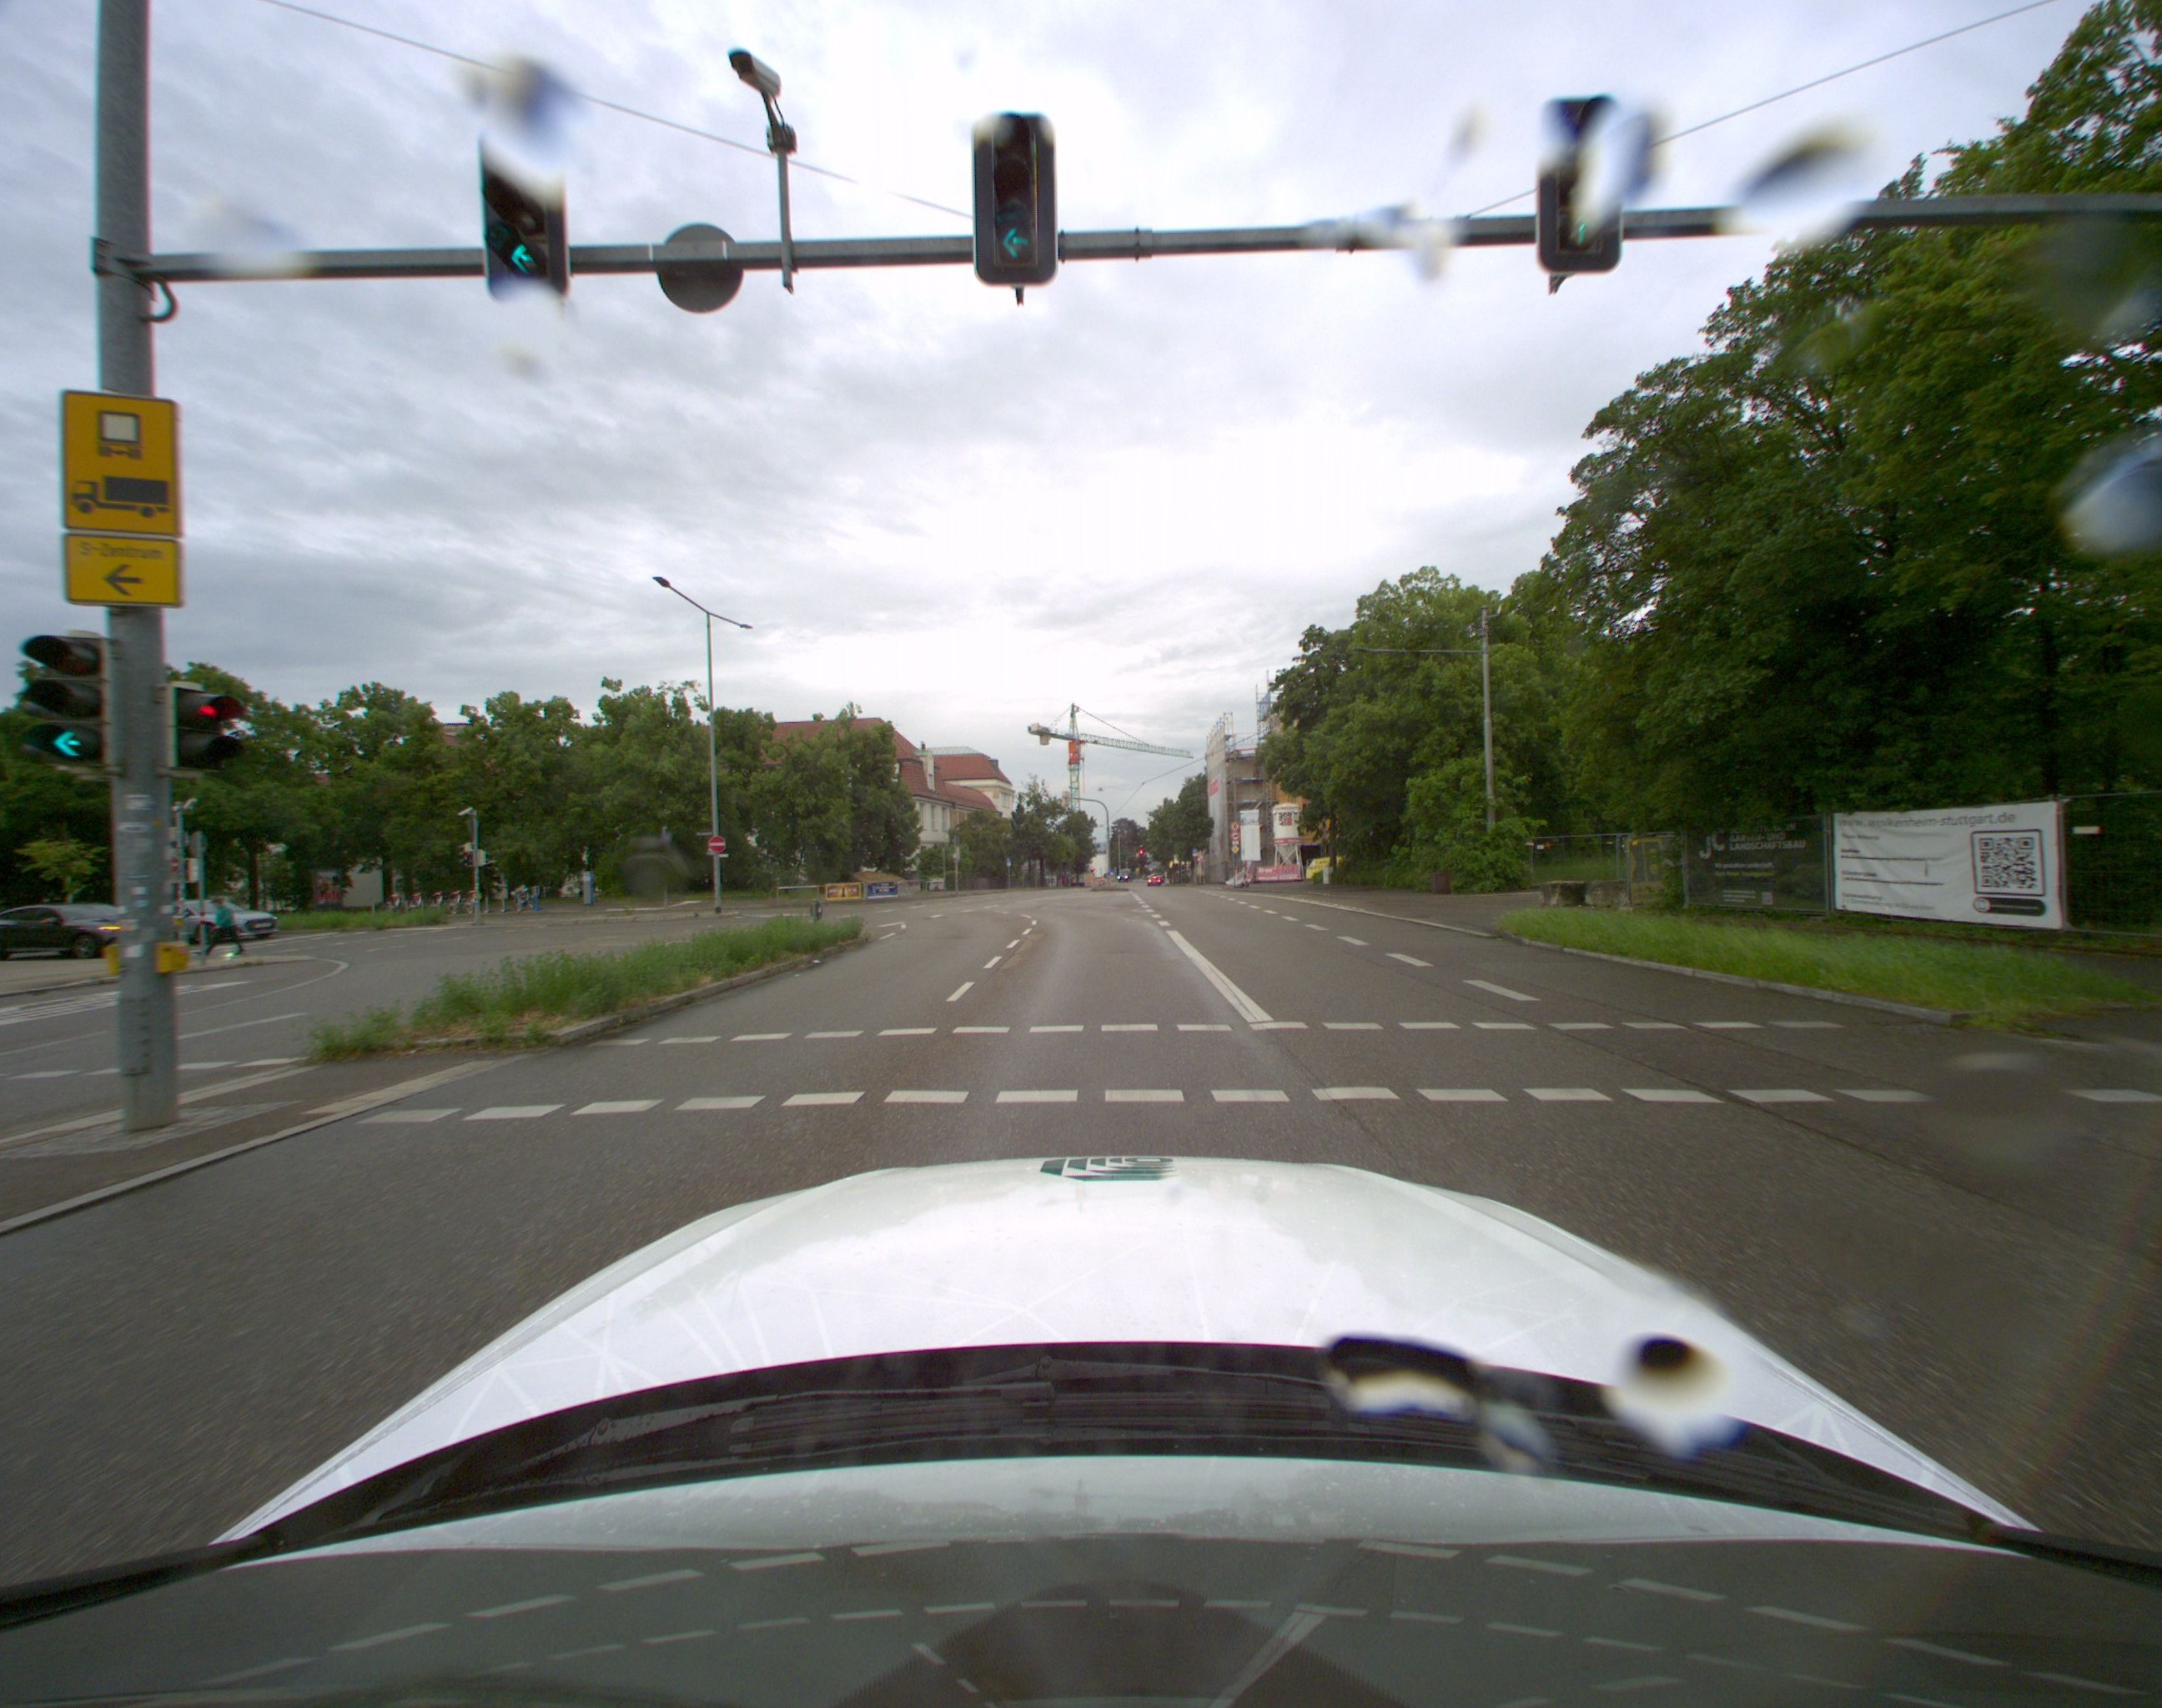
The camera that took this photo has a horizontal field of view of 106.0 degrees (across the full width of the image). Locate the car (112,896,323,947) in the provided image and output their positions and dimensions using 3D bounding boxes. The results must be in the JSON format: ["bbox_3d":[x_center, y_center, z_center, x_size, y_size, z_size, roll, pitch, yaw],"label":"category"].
[{"bbox_3d":[-29.066,2.251,27.529,5.005,1.548,2.001,-1,-1,1],"label":"car"}]

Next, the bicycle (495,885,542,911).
[{"bbox_3d":[-29.299,2.268,42.473,0.987,1.249,1.982,-1,-1,2],"label":"bicycle"}]

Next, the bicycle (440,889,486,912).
[{"bbox_3d":[-32.132,2.404,42.374,0.798,1.071,1.982,-1,-1,2],"label":"bicycle"}]

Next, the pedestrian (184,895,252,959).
[{"bbox_3d":[-24.493,2.047,23.125,0.917,1.727,0.949,-1,-1,10],"label":"pedestrian"}]

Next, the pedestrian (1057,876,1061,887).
[{"bbox_3d":[-3.505,4.379,129.822,0.491,1.645,0.534,-1,-1,3],"label":"pedestrian"}]

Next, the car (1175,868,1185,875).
[{"bbox_3d":[26.328,4.708,216.573,1.980,1.750,4.014,-2,-1,13],"label":"car"}]

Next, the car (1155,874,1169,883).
[{"bbox_3d":[16.050,4.856,161.395,1.979,1.750,4.016,-2,-1,15],"label":"car"}]

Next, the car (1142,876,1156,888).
[{"bbox_3d":[10.684,4.381,128.791,1.986,1.750,4.001,-2,-1,1],"label":"car"}]

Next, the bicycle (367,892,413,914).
[{"bbox_3d":[-35.827,2.527,42.248,0.649,1.071,1.983,-1,-1,2],"label":"bicycle"}]

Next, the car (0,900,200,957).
[{"bbox_3d":[-30.010,2.206,24.445,5.005,1.500,2.001,-1,-1,1],"label":"car"}]

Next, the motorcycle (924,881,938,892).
[{"bbox_3d":[-11.632,2.521,63.152,0.846,0.877,0.877,-1,-1,2],"label":"motorcycle"}]

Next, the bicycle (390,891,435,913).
[{"bbox_3d":[-34.849,2.489,42.459,0.649,1.071,1.983,-1,-1,2],"label":"bicycle"}]

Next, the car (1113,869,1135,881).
[{"bbox_3d":[8.973,4.321,169.082,2.825,2.403,6.218,-1,-1,20],"label":"car"}]

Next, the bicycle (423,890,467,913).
[{"bbox_3d":[-32.882,2.457,42.146,0.649,1.071,1.983,-1,-1,2],"label":"bicycle"}]

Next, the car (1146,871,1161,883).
[{"bbox_3d":[10.902,3.469,122.856,1.986,1.750,4.001,-2,-1,1],"label":"car"}]

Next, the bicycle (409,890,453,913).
[{"bbox_3d":[-33.771,2.457,42.324,0.649,1.071,1.983,-1,-1,2],"label":"bicycle"}]
